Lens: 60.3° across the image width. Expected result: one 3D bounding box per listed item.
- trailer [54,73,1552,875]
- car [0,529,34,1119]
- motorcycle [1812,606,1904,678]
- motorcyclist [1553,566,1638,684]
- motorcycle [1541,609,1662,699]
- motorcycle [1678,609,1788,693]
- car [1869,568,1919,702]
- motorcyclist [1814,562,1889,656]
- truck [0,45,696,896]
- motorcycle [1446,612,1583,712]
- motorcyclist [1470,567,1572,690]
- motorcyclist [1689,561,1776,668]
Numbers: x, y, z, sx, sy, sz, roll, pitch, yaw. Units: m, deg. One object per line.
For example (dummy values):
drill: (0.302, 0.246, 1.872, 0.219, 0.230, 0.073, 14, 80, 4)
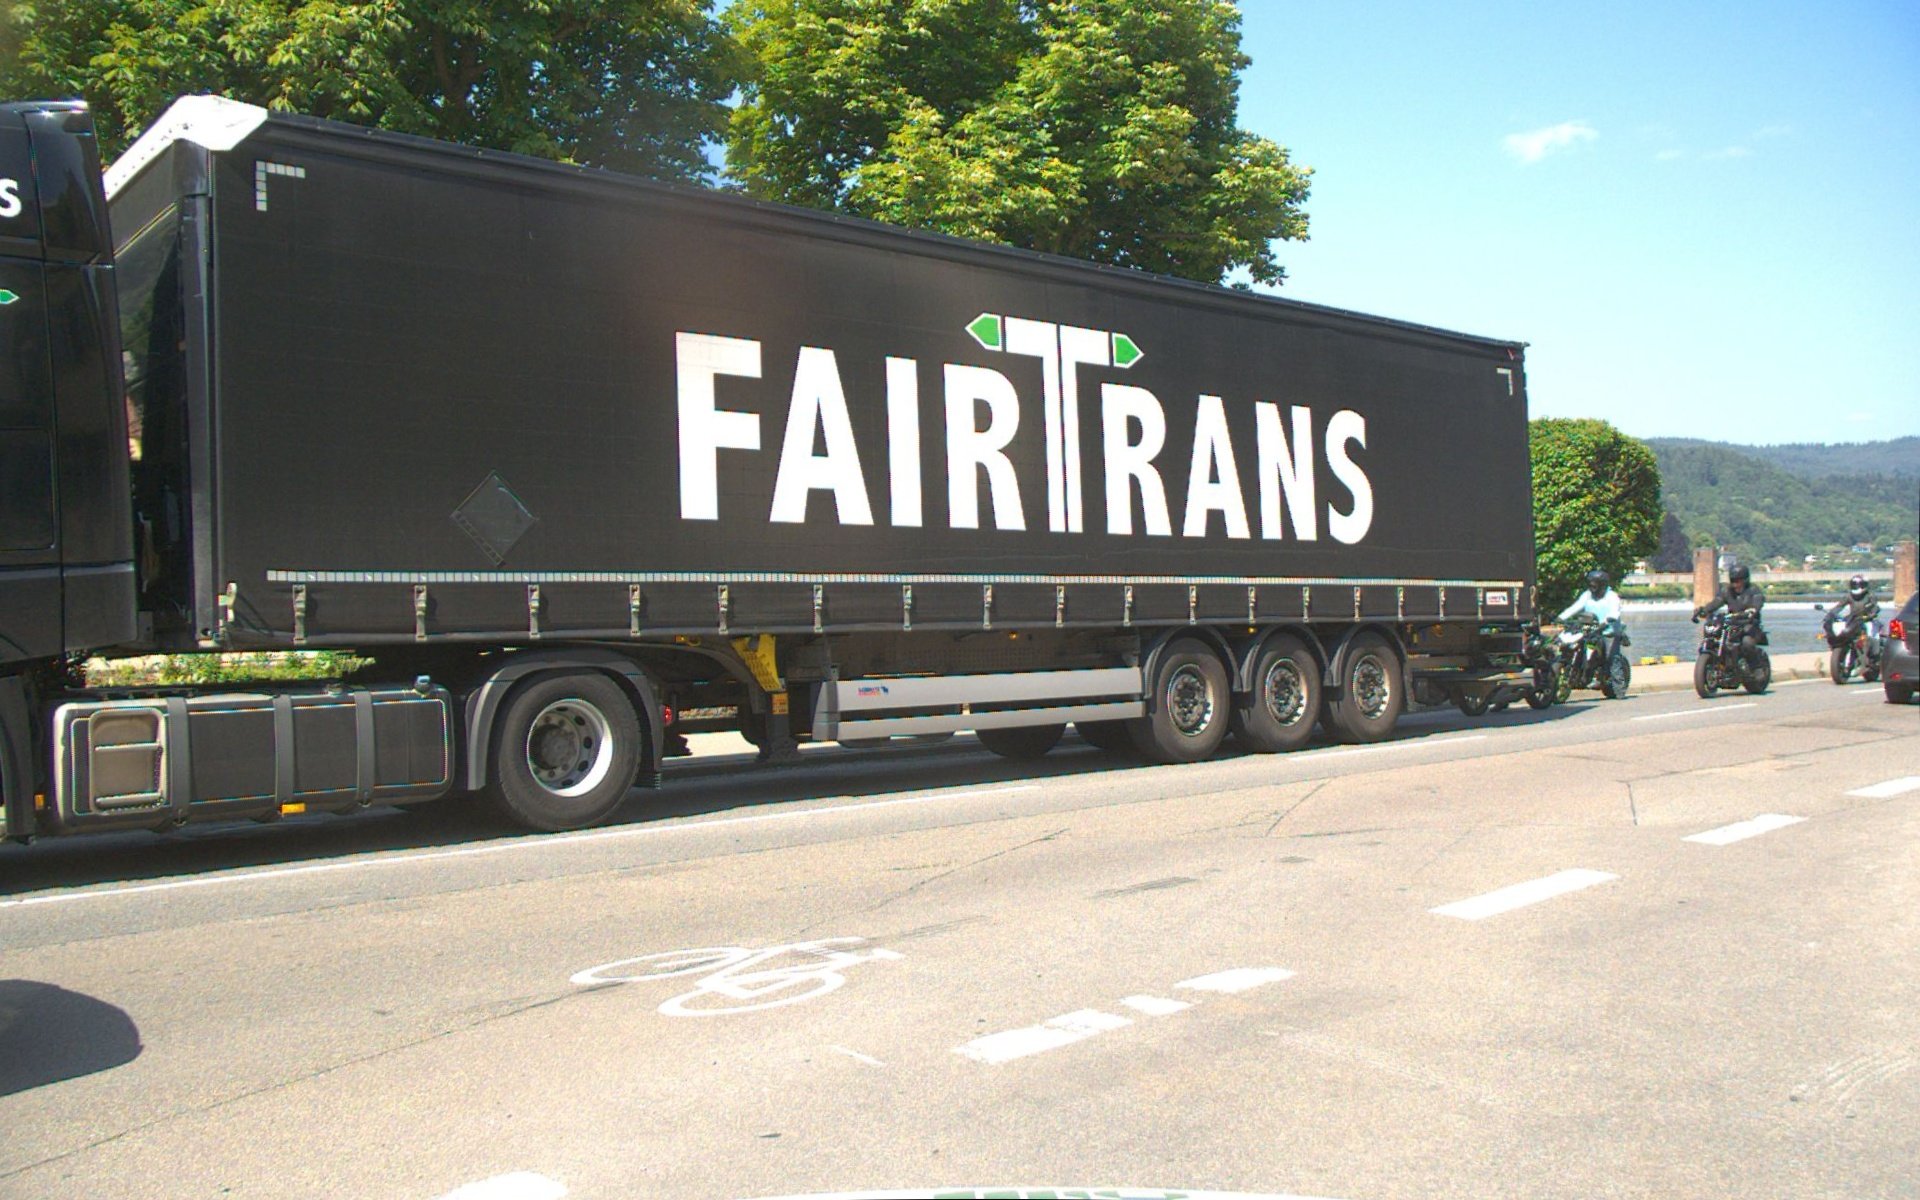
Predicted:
trailer: (0.181, -0.704, 14.166, 13.649, 4.176, 2.800, -1, -2, -41)
car: (-4.513, 0.631, 4.003, 3.709, 1.639, 1.667, -1, 1, -43)
motorcycle: (13.703, 0.631, 25.228, 1.799, 1.042, 0.649, -1, -1, -42)
motorcyclist: (8.617, 0.338, 22.427, 0.983, 1.551, 0.655, 0, -2, -43)
motorcycle: (8.753, 0.717, 22.534, 2.075, 1.143, 0.625, -1, -2, -42)
motorcycle: (10.232, 0.658, 21.860, 1.799, 1.042, 0.649, -1, -1, -42)
car: (12.589, 0.379, 19.961, 3.849, 1.525, 1.701, -1, 0, -43)
motorcyclist: (13.574, 0.136, 25.177, 0.928, 1.390, 0.709, 0, -1, -41)
truck: (-4.853, -0.603, 9.717, 5.880, 4.143, 2.797, -1, -2, -41)
motorcycle: (6.890, 0.756, 20.498, 2.075, 1.143, 0.625, -1, -2, -42)
motorcyclist: (6.986, 0.356, 20.599, 0.983, 1.486, 0.769, -1, -2, -41)
motorcyclist: (10.239, 0.191, 21.921, 0.793, 1.390, 0.777, 0, -1, -41)
